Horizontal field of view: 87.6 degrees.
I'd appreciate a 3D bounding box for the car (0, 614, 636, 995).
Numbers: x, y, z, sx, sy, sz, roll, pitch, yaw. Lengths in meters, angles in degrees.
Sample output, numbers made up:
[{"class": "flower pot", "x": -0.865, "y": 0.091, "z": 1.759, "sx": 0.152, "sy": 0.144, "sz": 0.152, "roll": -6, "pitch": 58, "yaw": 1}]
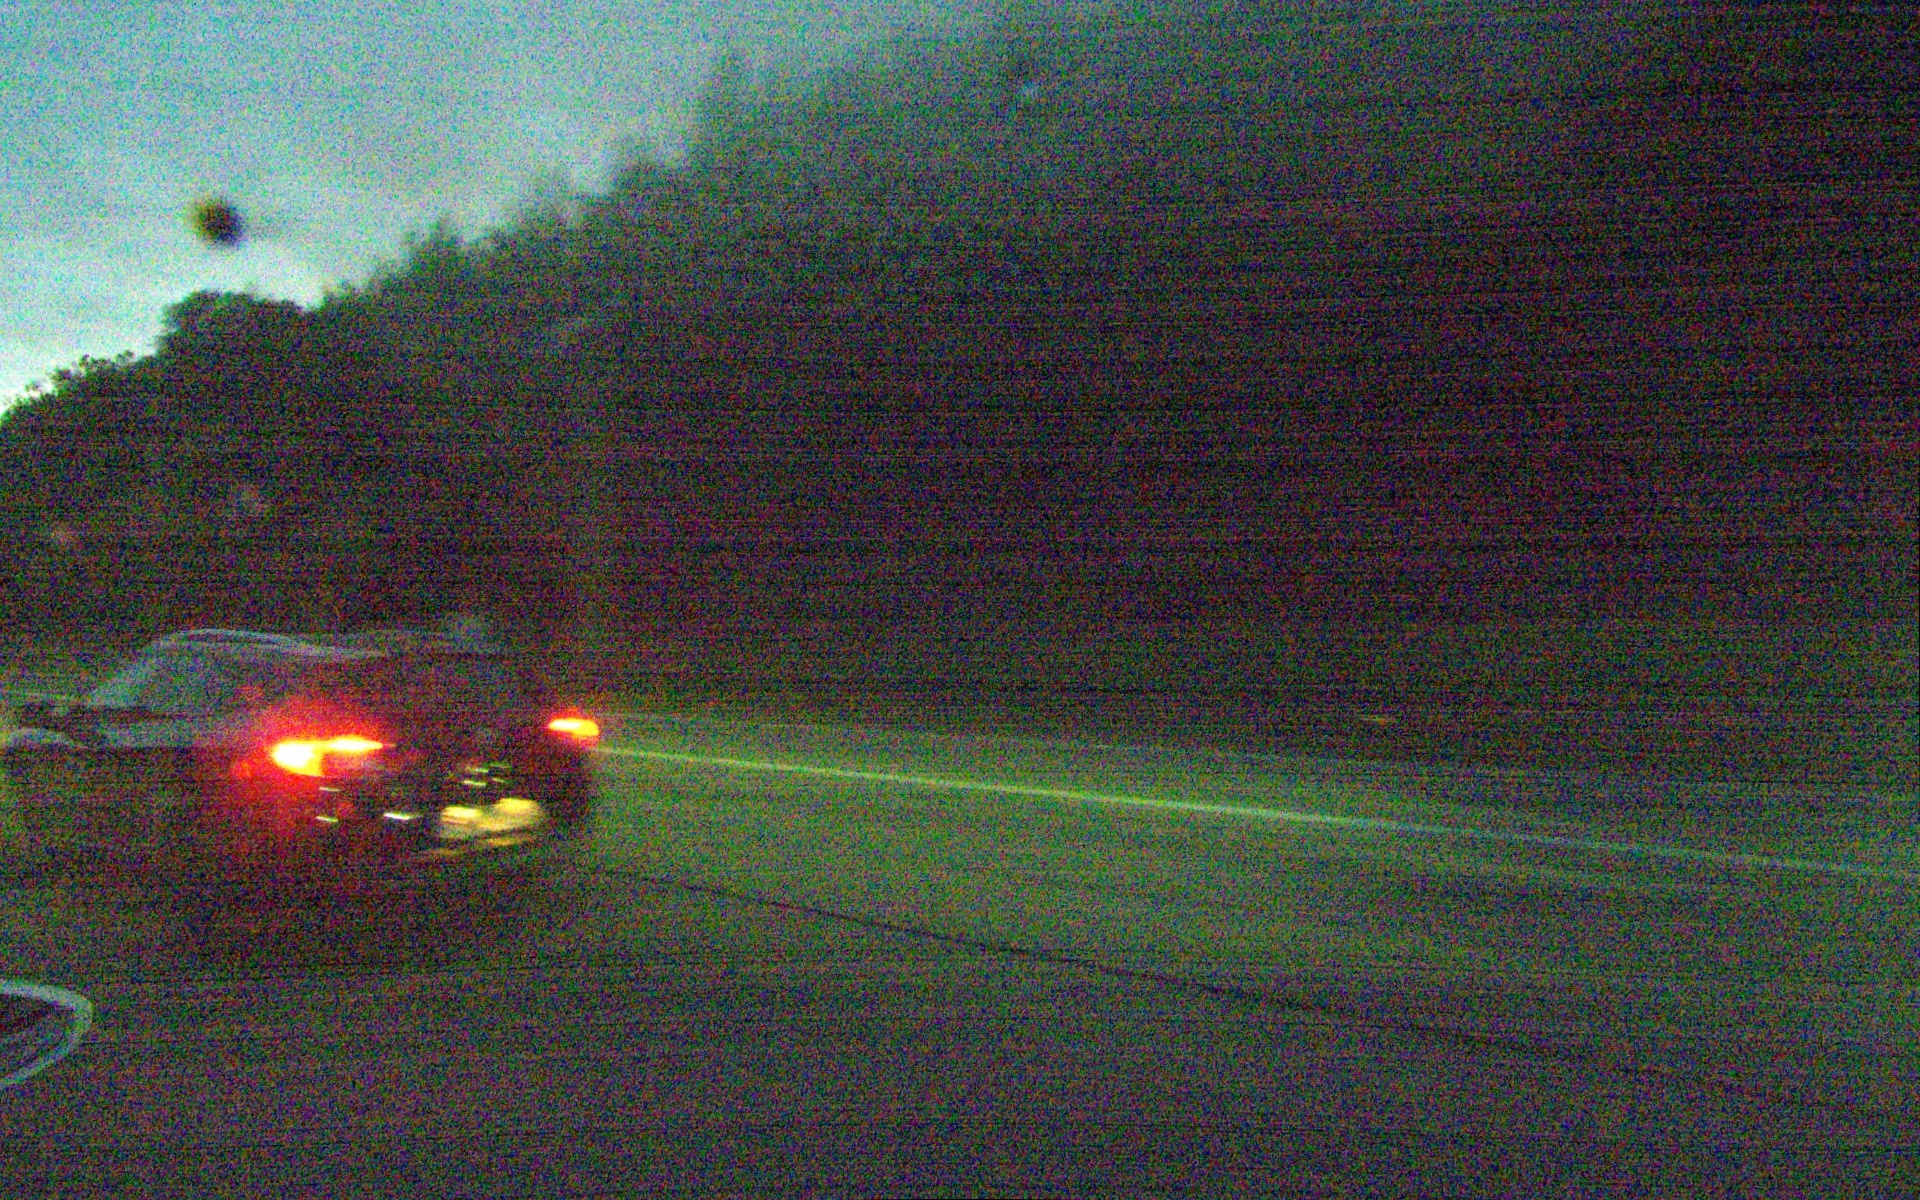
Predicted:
[{"class": "car", "x": -4.261, "y": 0.869, "z": 5.981, "sx": 4.877, "sy": 1.509, "sz": 1.689, "roll": -1, "pitch": -2, "yaw": 32}]
